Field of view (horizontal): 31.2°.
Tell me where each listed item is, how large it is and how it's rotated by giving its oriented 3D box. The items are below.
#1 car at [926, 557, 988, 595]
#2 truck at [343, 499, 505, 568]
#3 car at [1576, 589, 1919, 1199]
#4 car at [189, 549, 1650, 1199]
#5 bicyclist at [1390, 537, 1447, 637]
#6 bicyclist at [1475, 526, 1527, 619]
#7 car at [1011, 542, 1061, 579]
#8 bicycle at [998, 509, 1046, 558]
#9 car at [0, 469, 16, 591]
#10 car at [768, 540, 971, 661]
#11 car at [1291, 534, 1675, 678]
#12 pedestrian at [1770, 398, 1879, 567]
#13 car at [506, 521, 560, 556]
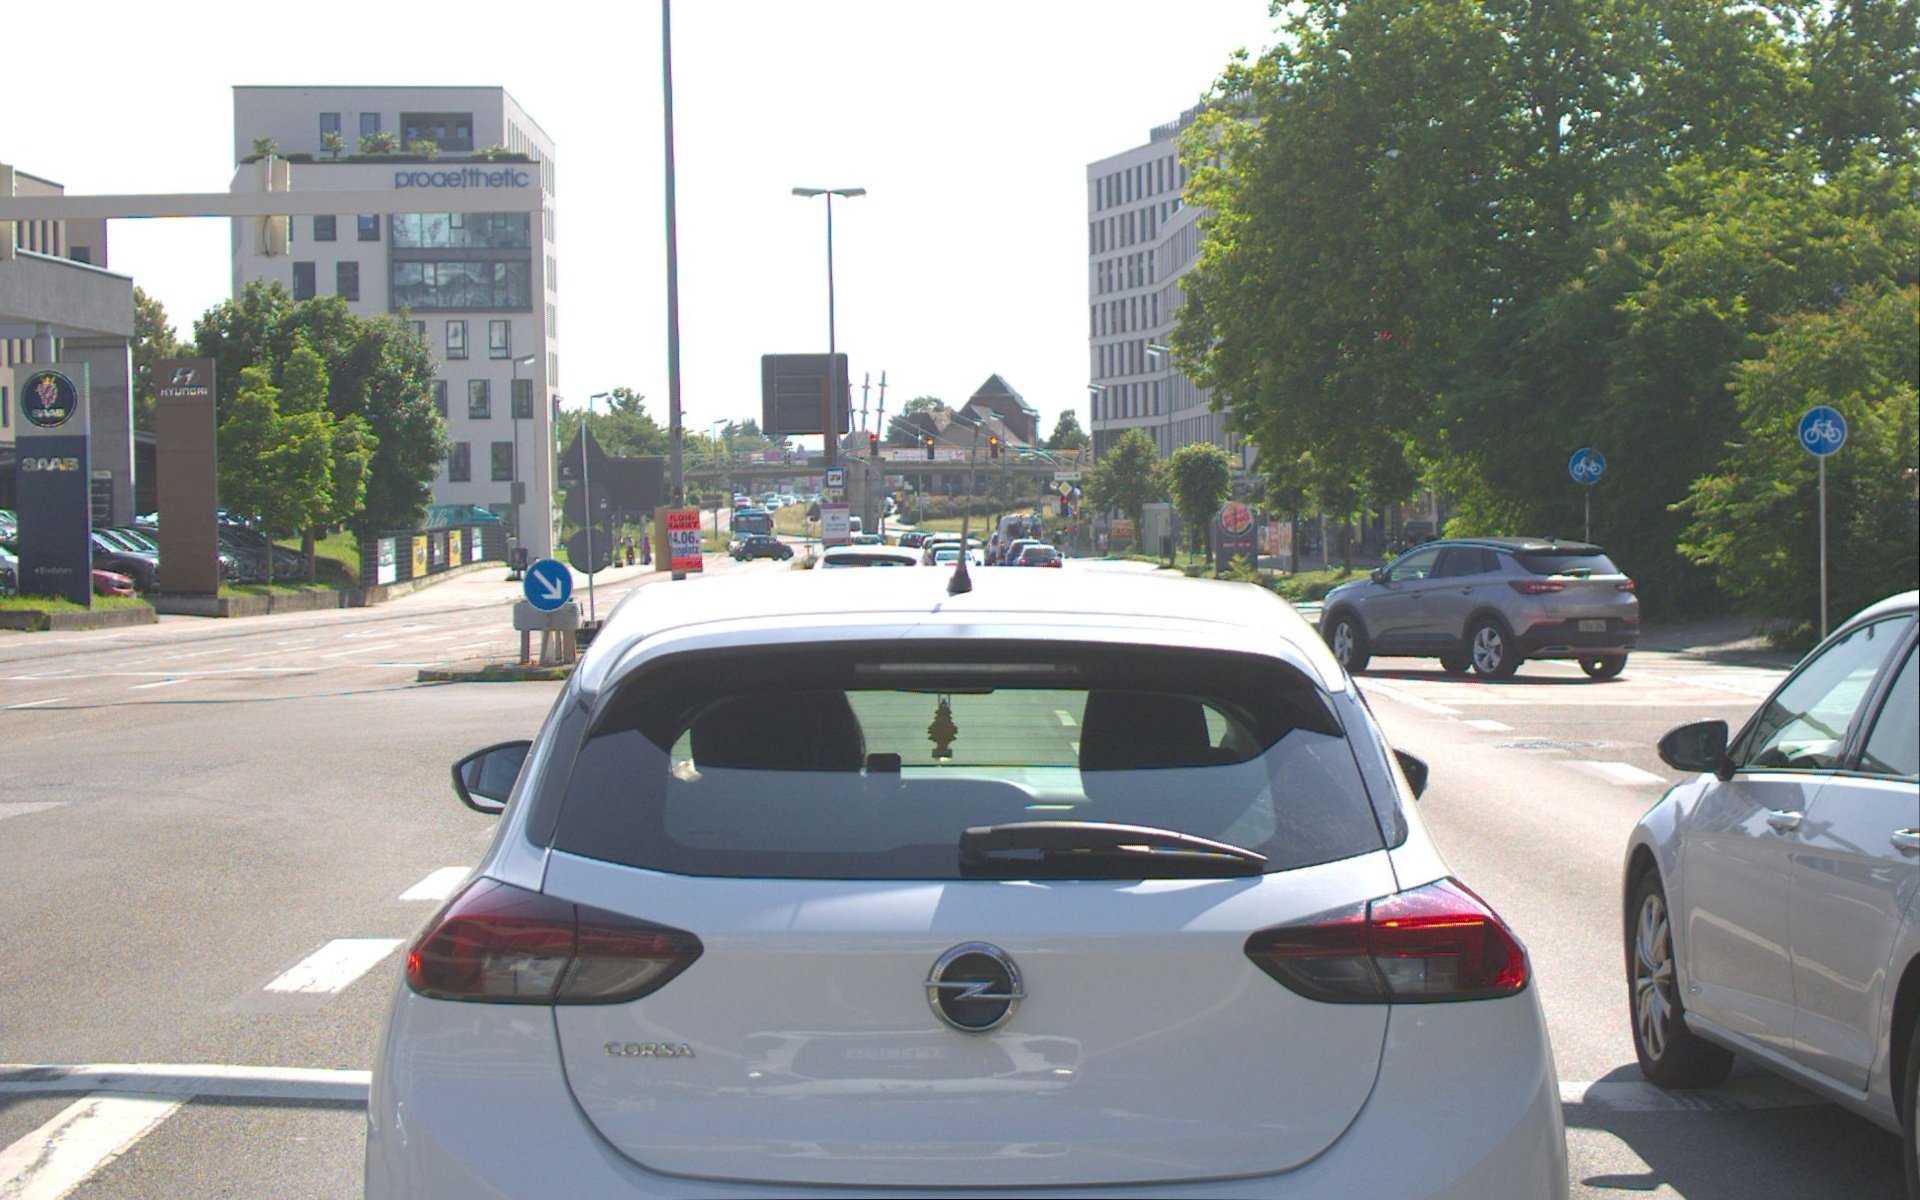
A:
[{"bbox_3d":[-0.133,-0.856,122.511,1.993,1.327,4.000,1,0,-3],"label":"car"},{"bbox_3d":[-30.846,-3.825,197.754,9.058,3.821,3.082,-1,1,-9],"label":"truck"},{"bbox_3d":[2.777,0.699,8.269,1.807,1.424,4.000,-1,1,-1],"label":"car"},{"bbox_3d":[-0.071,0.667,6.210,1.779,1.489,4.000,-1,1,-1],"label":"car"},{"bbox_3d":[8.181,-0.244,61.337,0.879,1.766,0.864,-1,1,0],"label":"bicyclist"},{"bbox_3d":[9.551,-0.488,60.689,0.688,1.637,0.777,-1,1,-9],"label":"bicyclist"},{"bbox_3d":[2.990,-1.544,135.249,1.806,1.381,4.000,1,0,-1],"label":"car"},{"bbox_3d":[2.782,-3.000,155.385,1.993,2.150,4.000,-1,1,-1],"label":"bicycle"},{"bbox_3d":[-22.549,-1.454,73.023,4.357,2.592,2.000,-1,1,5],"label":"car"},{"bbox_3d":[-1.082,-0.024,43.266,1.994,1.442,4.370,0,1,6],"label":"car"},{"bbox_3d":[6.012,0.036,40.039,1.994,1.546,4.433,-1,1,-32],"label":"car"},{"bbox_3d":[10.440,-1.409,41.548,1.027,2.007,1.039,-1,1,-1],"label":"pedestrian"},{"bbox_3d":[-17.647,-2.521,142.215,1.806,1.381,4.000,1,0,-1],"label":"car"}]
